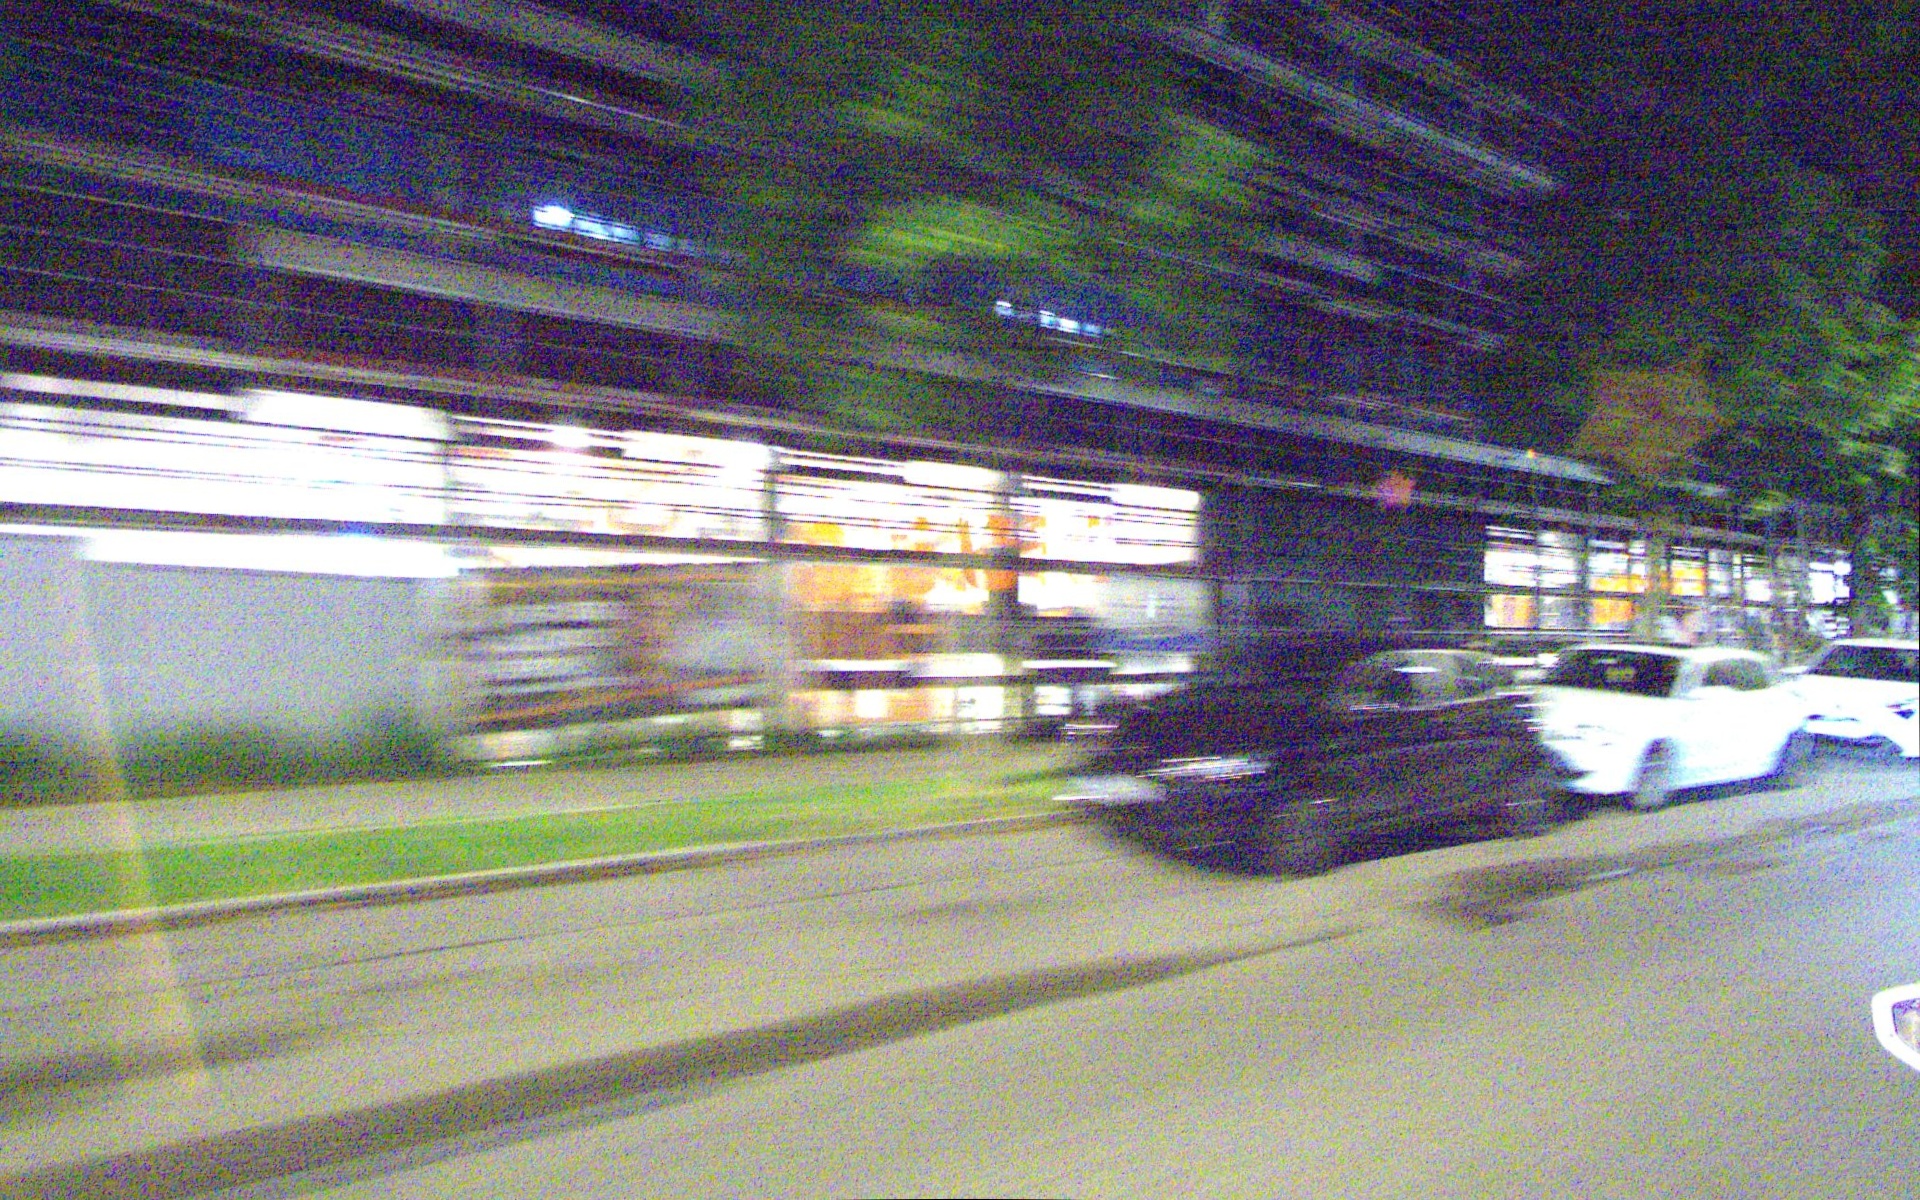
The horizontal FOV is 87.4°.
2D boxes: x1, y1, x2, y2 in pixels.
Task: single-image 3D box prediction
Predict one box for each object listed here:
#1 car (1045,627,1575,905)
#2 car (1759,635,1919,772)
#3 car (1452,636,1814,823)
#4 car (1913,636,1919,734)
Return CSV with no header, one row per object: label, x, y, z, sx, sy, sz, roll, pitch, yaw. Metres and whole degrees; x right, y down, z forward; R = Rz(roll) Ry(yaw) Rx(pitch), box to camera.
car,2.681,1.008,7.479,3.859,1.524,1.634,1,1,-31
car,11.940,1.233,12.915,3.330,1.475,1.539,1,1,-31
car,6.683,1.127,9.878,3.859,1.449,1.437,1,1,-31
car,17.010,1.345,16.061,3.817,1.525,1.637,0,0,-31
